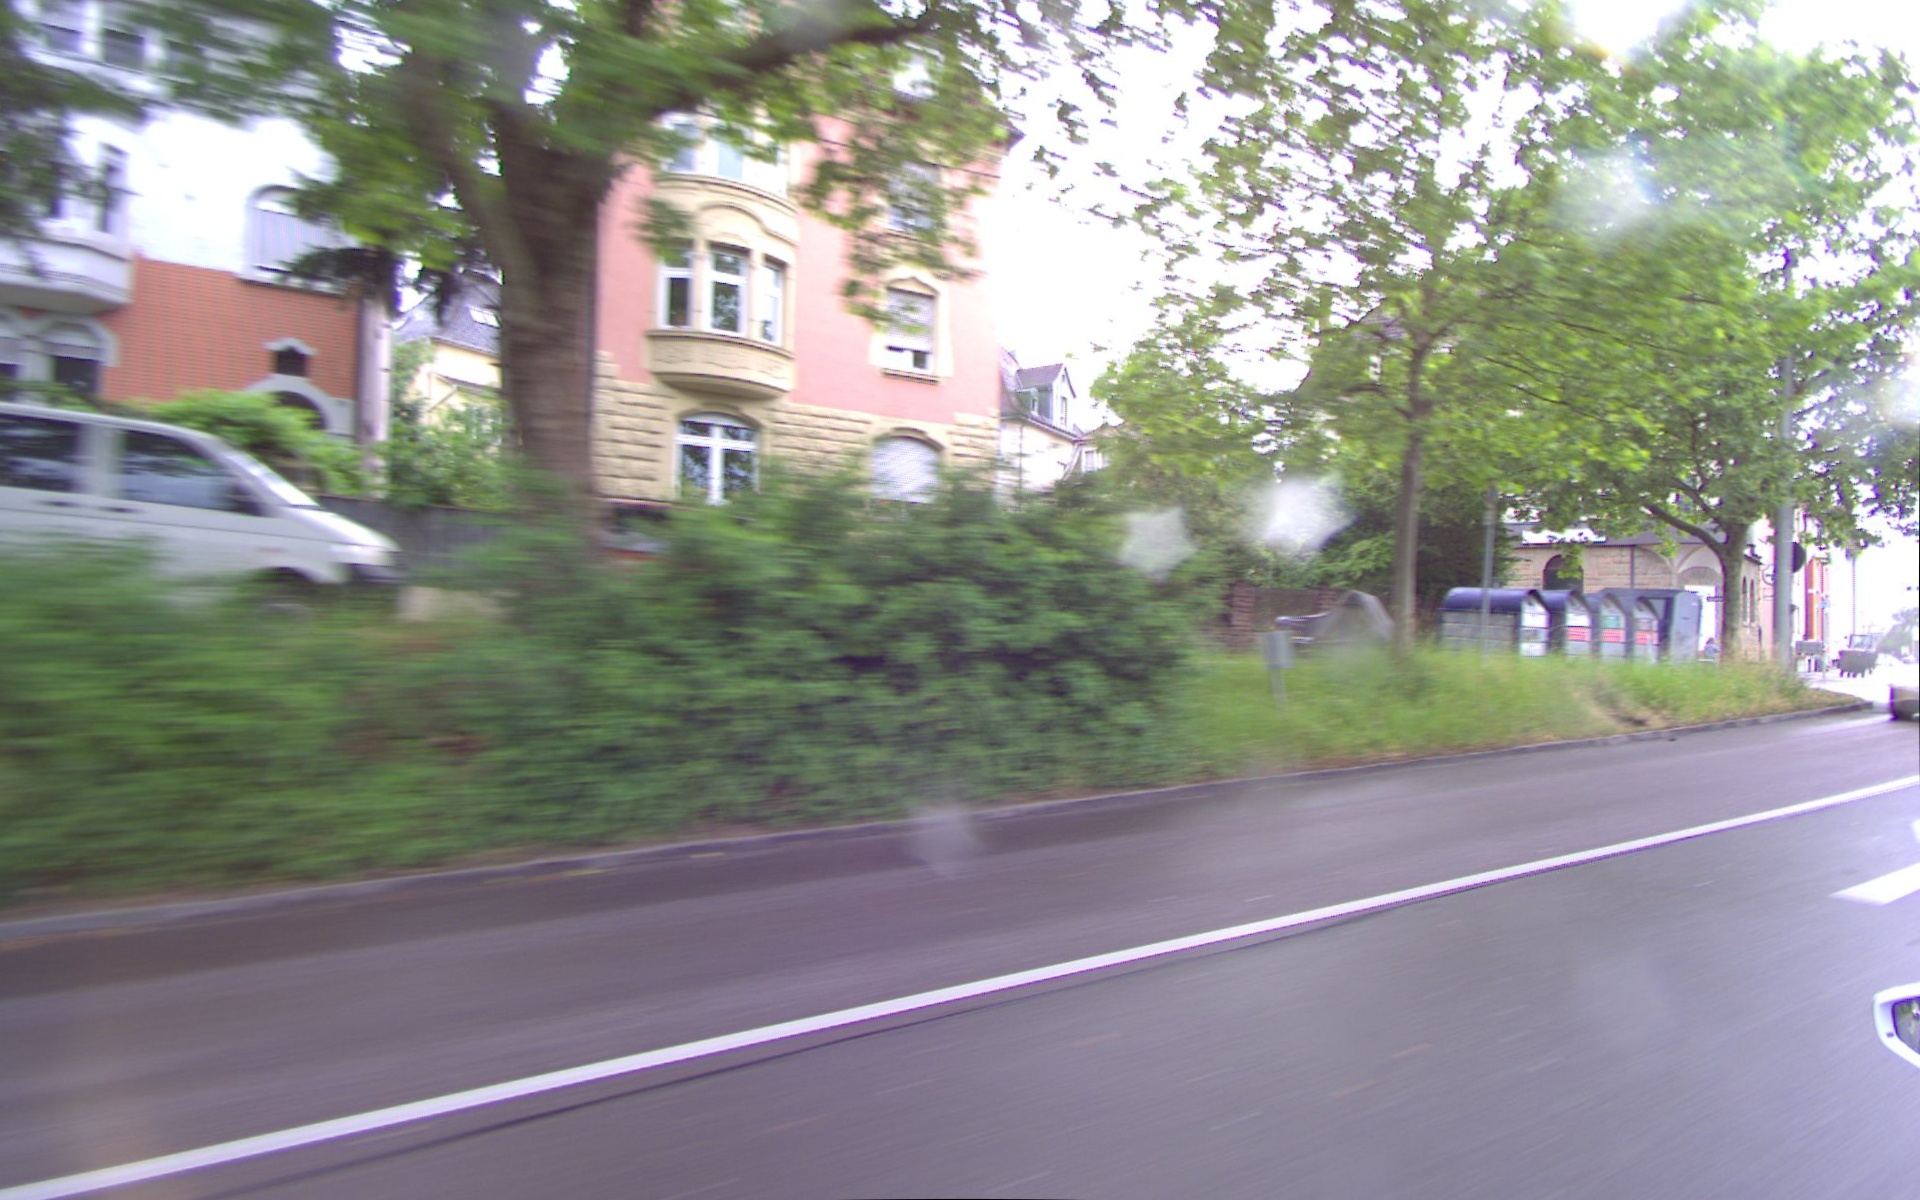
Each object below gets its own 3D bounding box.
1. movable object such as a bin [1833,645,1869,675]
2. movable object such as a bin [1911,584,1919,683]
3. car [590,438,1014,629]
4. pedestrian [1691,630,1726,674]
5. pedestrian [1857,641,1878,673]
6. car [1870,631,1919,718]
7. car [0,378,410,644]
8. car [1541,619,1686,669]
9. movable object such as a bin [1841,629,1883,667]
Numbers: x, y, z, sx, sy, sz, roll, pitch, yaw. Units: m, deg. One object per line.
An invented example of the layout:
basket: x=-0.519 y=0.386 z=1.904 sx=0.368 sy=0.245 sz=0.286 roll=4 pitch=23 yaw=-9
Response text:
movable object such as a bin: x=39.334 y=2.632 z=44.373 sx=0.876 sy=1.239 sz=1.203 roll=1 pitch=0 yaw=26
movable object such as a bin: x=40.571 y=1.343 z=40.346 sx=5.937 sy=3.907 sz=2.751 roll=0 pitch=0 yaw=-40
car: x=-1.798 y=-0.643 z=11.742 sx=4.569 sy=1.868 sz=1.823 roll=0 pitch=0 yaw=-28
pedestrian: x=25.536 y=1.756 z=34.273 sx=0.776 sy=1.420 sz=0.798 roll=0 pitch=1 yaw=-40
pedestrian: x=48.256 y=3.033 z=53.403 sx=1.084 sy=1.610 sz=0.757 roll=0 pitch=1 yaw=-44
car: x=17.981 y=1.294 z=17.741 sx=4.671 sy=1.371 sz=2.055 roll=0 pitch=0 yaw=-38
car: x=-7.453 y=-0.689 z=8.784 sx=4.569 sy=2.040 sz=1.986 roll=0 pitch=0 yaw=-28
car: x=24.762 y=1.634 z=38.159 sx=4.469 sy=1.595 sz=1.931 roll=2 pitch=1 yaw=35
movable object such as a bin: x=70.104 y=3.711 z=78.031 sx=4.593 sy=2.719 sz=1.975 roll=0 pitch=0 yaw=-42
